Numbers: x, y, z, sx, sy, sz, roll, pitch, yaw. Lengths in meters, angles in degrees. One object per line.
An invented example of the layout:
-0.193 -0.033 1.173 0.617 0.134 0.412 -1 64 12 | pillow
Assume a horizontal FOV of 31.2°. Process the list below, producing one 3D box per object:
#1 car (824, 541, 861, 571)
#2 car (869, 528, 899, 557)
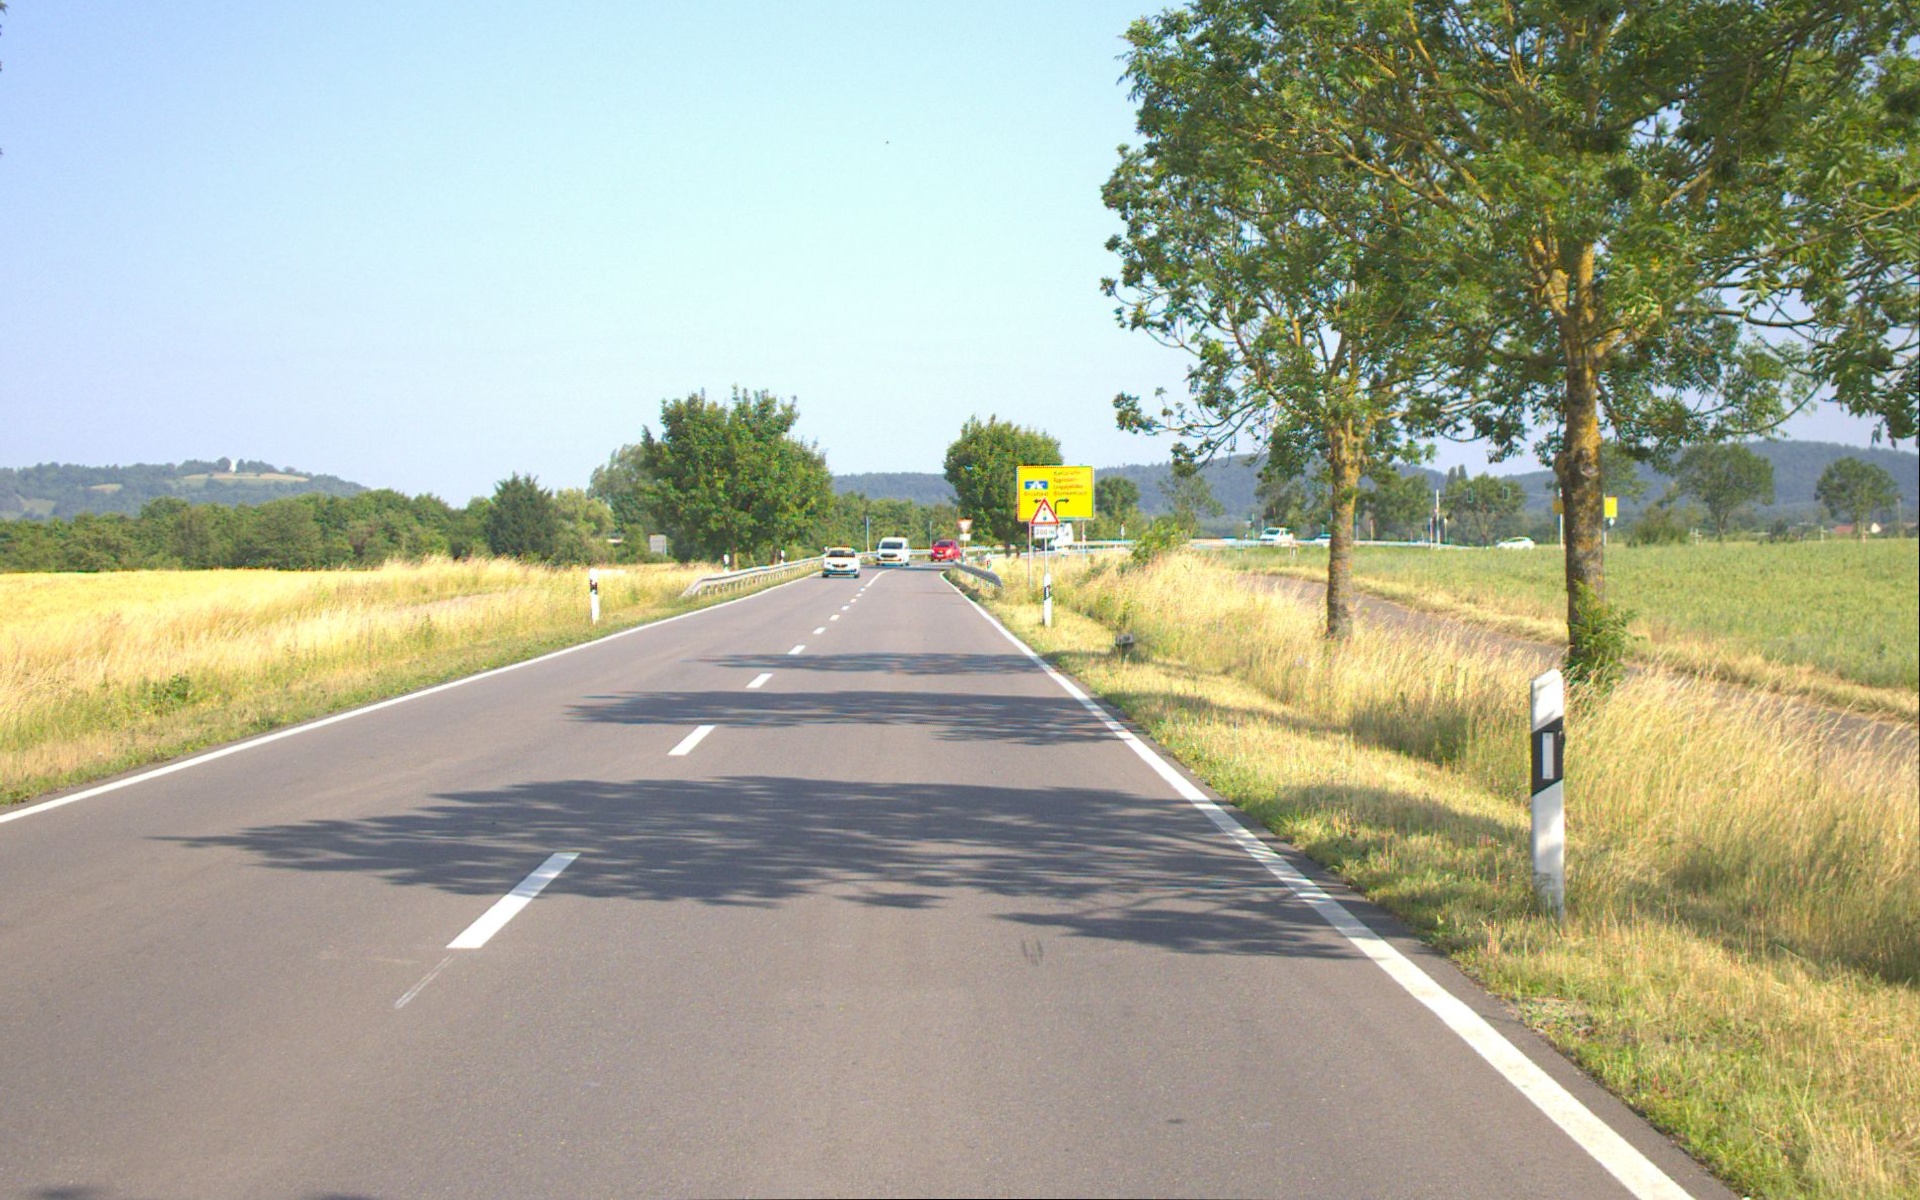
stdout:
-5.708 -2.136 167.770 1.726 1.432 4.517 0 1 -1 | car
-4.830 -3.696 219.783 1.836 1.780 4.435 0 1 0 | car
